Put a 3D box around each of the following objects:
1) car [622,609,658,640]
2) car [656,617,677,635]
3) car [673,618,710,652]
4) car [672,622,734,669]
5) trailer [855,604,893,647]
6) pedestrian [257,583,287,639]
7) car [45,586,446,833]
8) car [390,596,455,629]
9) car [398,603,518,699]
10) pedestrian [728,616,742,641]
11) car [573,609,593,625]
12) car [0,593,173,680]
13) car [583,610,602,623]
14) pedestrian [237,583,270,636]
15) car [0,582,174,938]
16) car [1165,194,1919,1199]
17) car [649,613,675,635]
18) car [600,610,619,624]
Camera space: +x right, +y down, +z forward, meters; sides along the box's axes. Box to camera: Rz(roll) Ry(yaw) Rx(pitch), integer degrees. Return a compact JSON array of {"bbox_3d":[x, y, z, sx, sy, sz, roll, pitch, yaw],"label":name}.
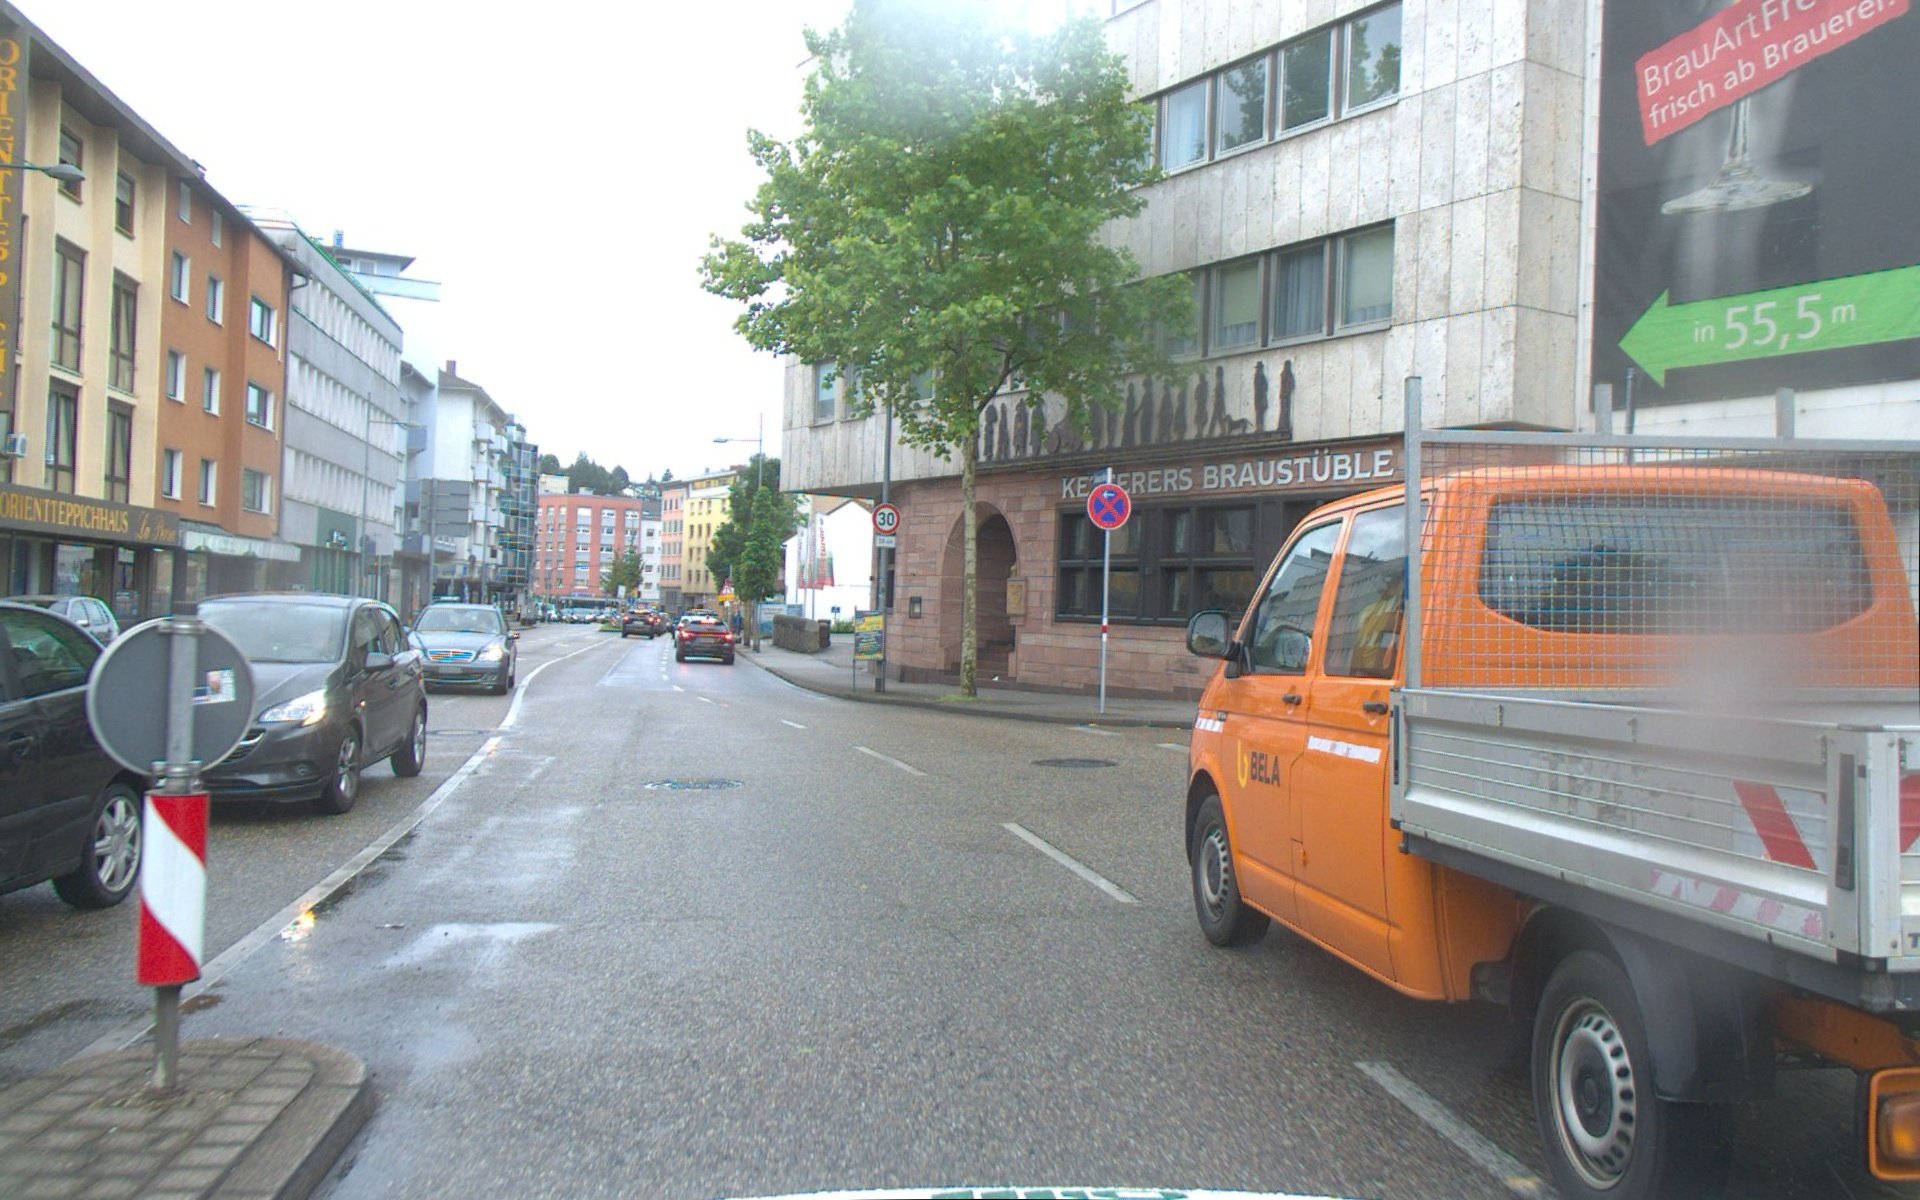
[{"bbox_3d":[-18.326,1.385,94.772,1.790,1.628,3.710,4,-1,-9],"label":"car"},{"bbox_3d":[-23.086,2.024,130.142,1.611,1.405,3.339,1,-1,-11],"label":"car"},{"bbox_3d":[-12.359,1.588,76.243,1.634,1.420,3.860,0,1,-8],"label":"car"},{"bbox_3d":[-8.482,1.461,54.390,1.758,1.427,4.619,0,0,-12],"label":"car"},{"bbox_3d":[-5.697,1.632,109.114,2.087,2.764,5.382,0,0,-7],"label":"trailer"},{"bbox_3d":[-23.031,0.367,55.379,0.564,1.819,0.825,6,-2,-9],"label":"pedestrian"},{"bbox_3d":[-4.992,0.684,12.147,1.613,1.479,3.983,2,0,-8],"label":"car"},{"bbox_3d":[-35.967,0.852,110.734,3.889,2.070,1.577,2,-1,-9],"label":"car"},{"bbox_3d":[-8.332,0.817,27.732,1.704,1.465,4.396,1,-1,-15],"label":"car"},{"bbox_3d":[-15.857,2.017,116.562,0.775,1.786,0.872,1,-1,3],"label":"pedestrian"},{"bbox_3d":[-37.669,1.711,165.390,1.676,1.493,4.818,0,-1,-9],"label":"car"},{"bbox_3d":[-15.567,0.657,29.333,1.696,1.390,4.102,2,-2,-8],"label":"car"},{"bbox_3d":[-41.451,1.893,186.459,1.693,1.448,4.145,0,-1,-17],"label":"car"},{"bbox_3d":[-23.642,0.327,55.359,0.619,1.704,0.906,6,-2,-10],"label":"pedestrian"},{"bbox_3d":[-4.606,0.644,6.358,1.524,1.422,3.725,1,1,-3],"label":"car"},{"bbox_3d":[2.299,0.425,5.456,2.061,2.126,5.534,0,0,-6],"label":"car"},{"bbox_3d":[-19.524,1.598,108.389,1.611,1.405,3.339,1,-1,-11],"label":"car"},{"bbox_3d":[-35.180,1.699,166.053,1.689,1.448,4.155,0,-1,-9],"label":"car"}]
